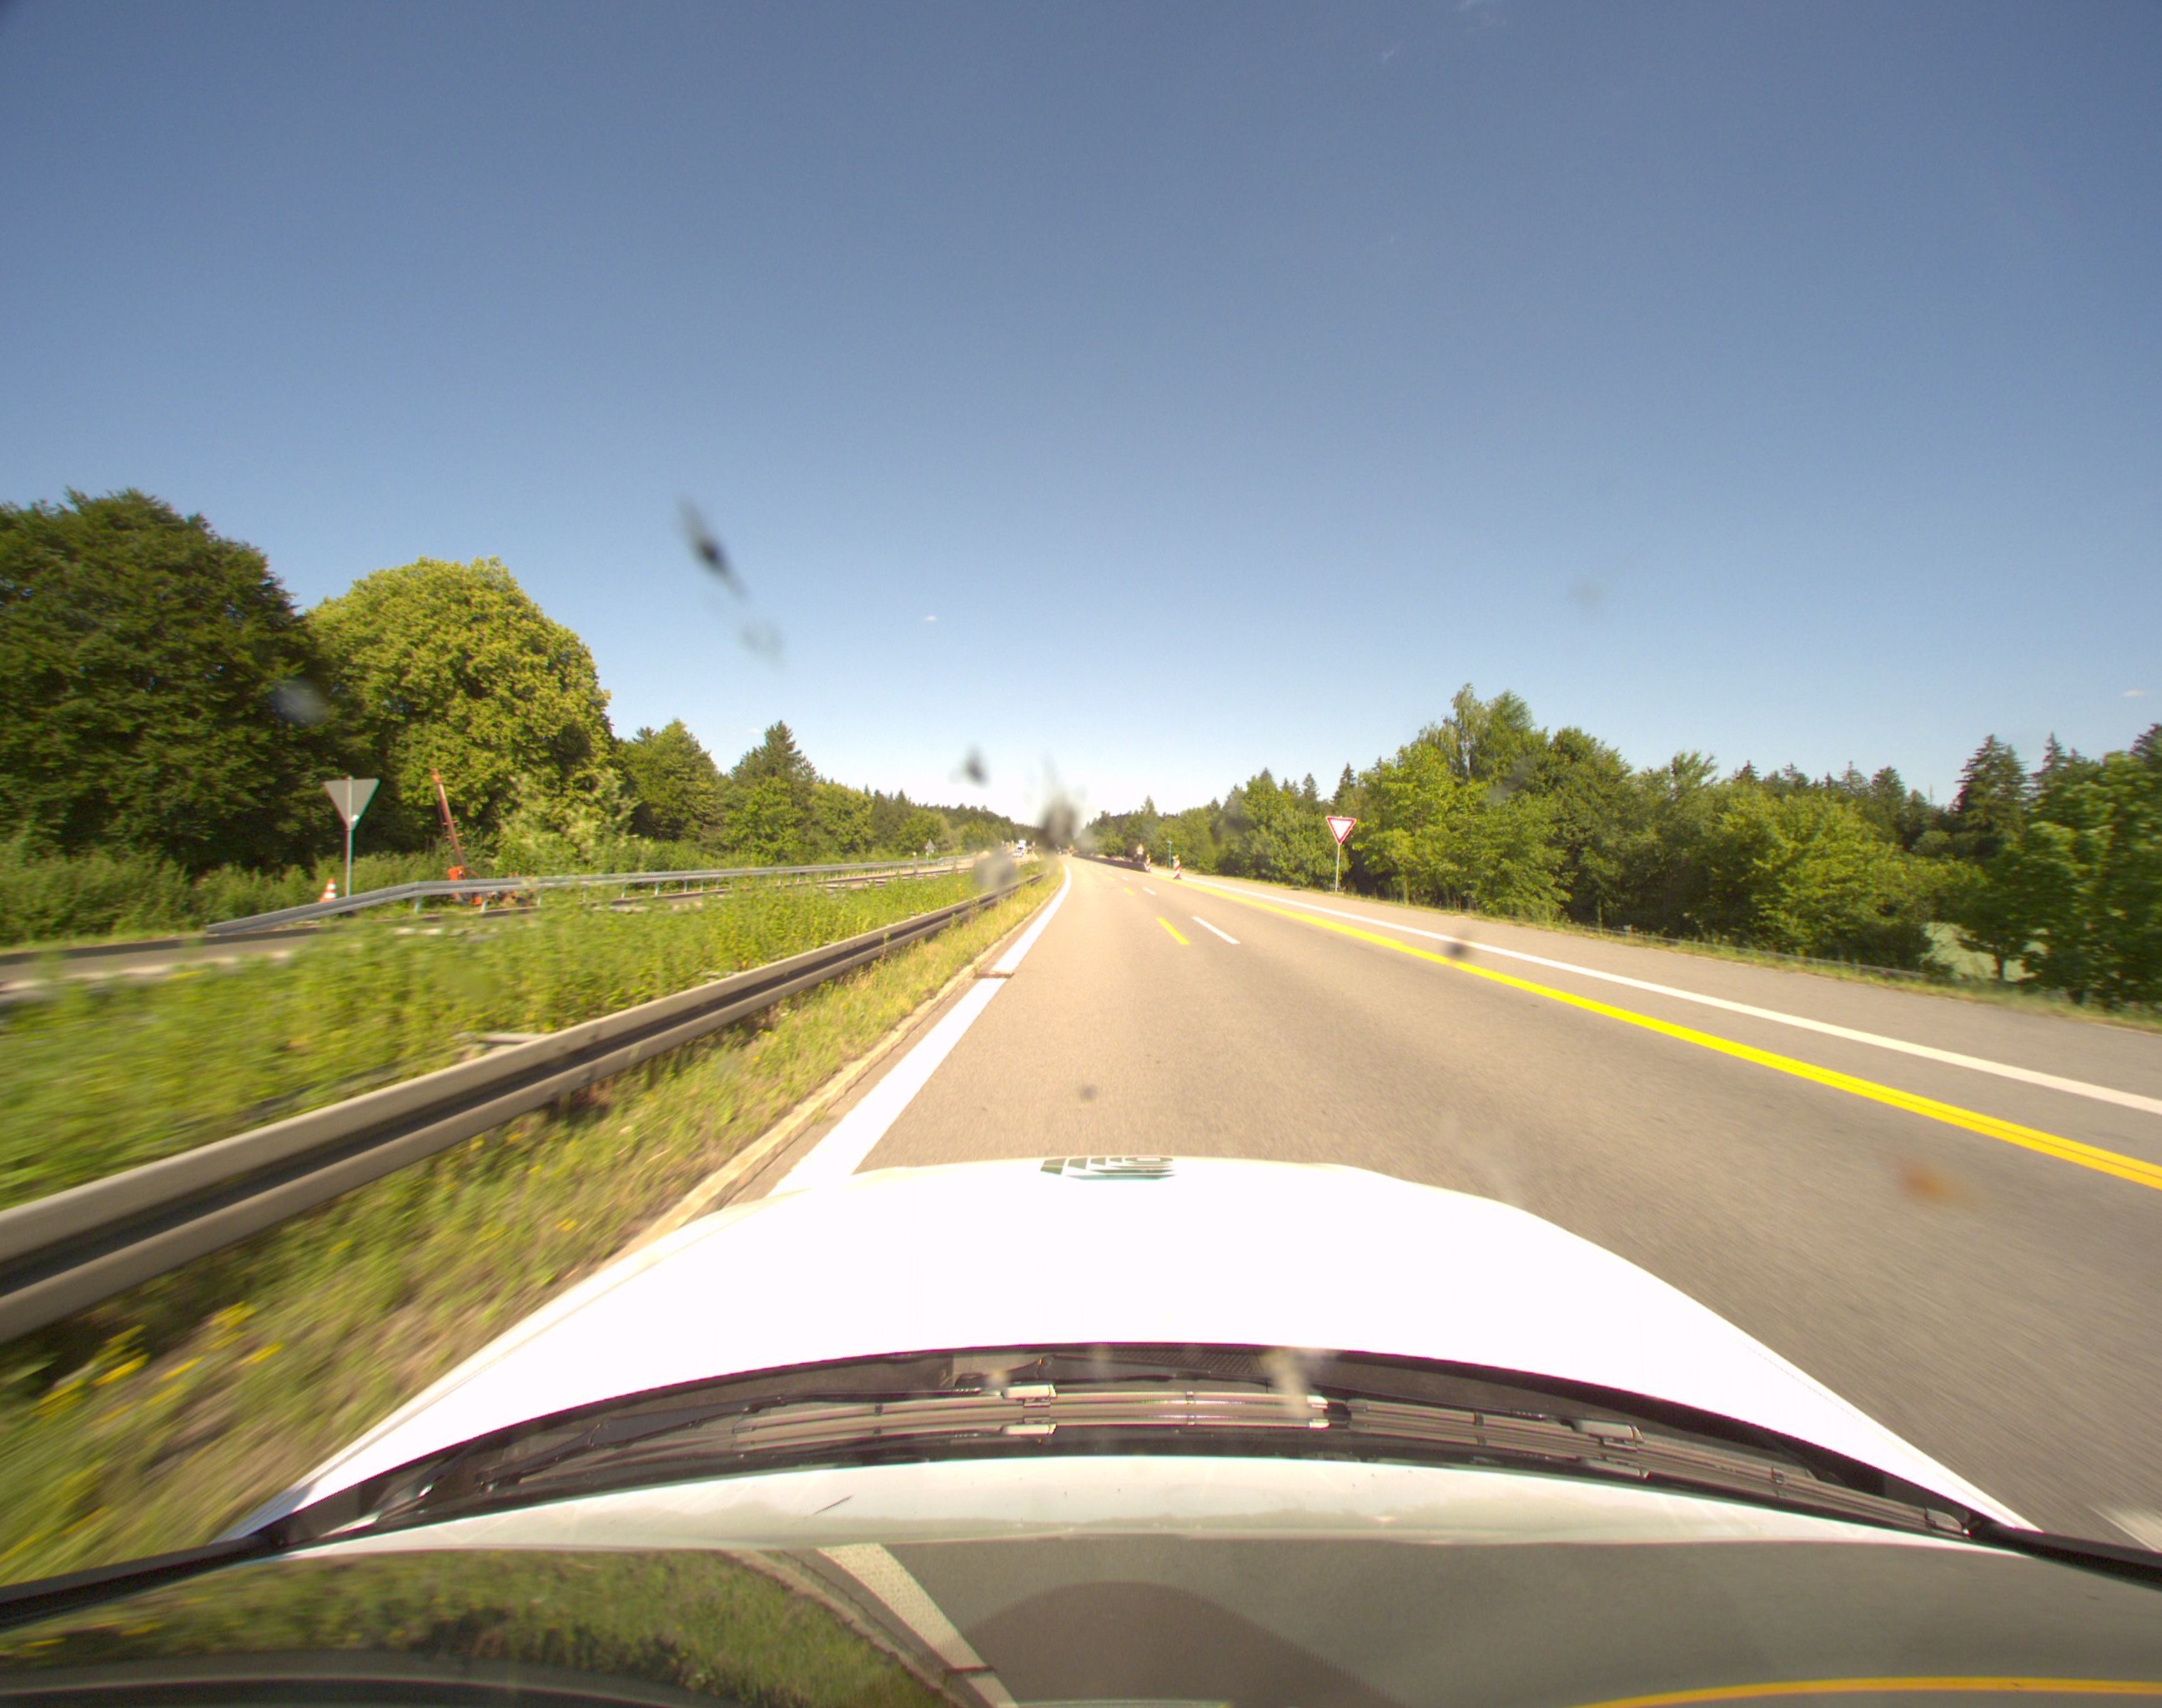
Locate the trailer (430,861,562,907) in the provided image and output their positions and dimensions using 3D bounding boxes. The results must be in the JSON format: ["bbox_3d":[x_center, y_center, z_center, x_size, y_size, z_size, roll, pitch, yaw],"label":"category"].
[{"bbox_3d":[-15.612,0.766,21.927,0.990,1.053,3.424,4,0,1],"label":"trailer"}]

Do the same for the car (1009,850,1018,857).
[{"bbox_3d":[-14.232,-0.068,171.766,1.879,1.432,4.978,1,0,-3],"label":"car"}]

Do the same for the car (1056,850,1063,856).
[{"bbox_3d":[-6.533,-0.298,244.728,1.740,1.466,4.288,2,0,-4],"label":"car"}]

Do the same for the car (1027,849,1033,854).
[{"bbox_3d":[-15.342,-0.757,245.988,1.737,1.530,3.996,-1,1,-2],"label":"car"}]
